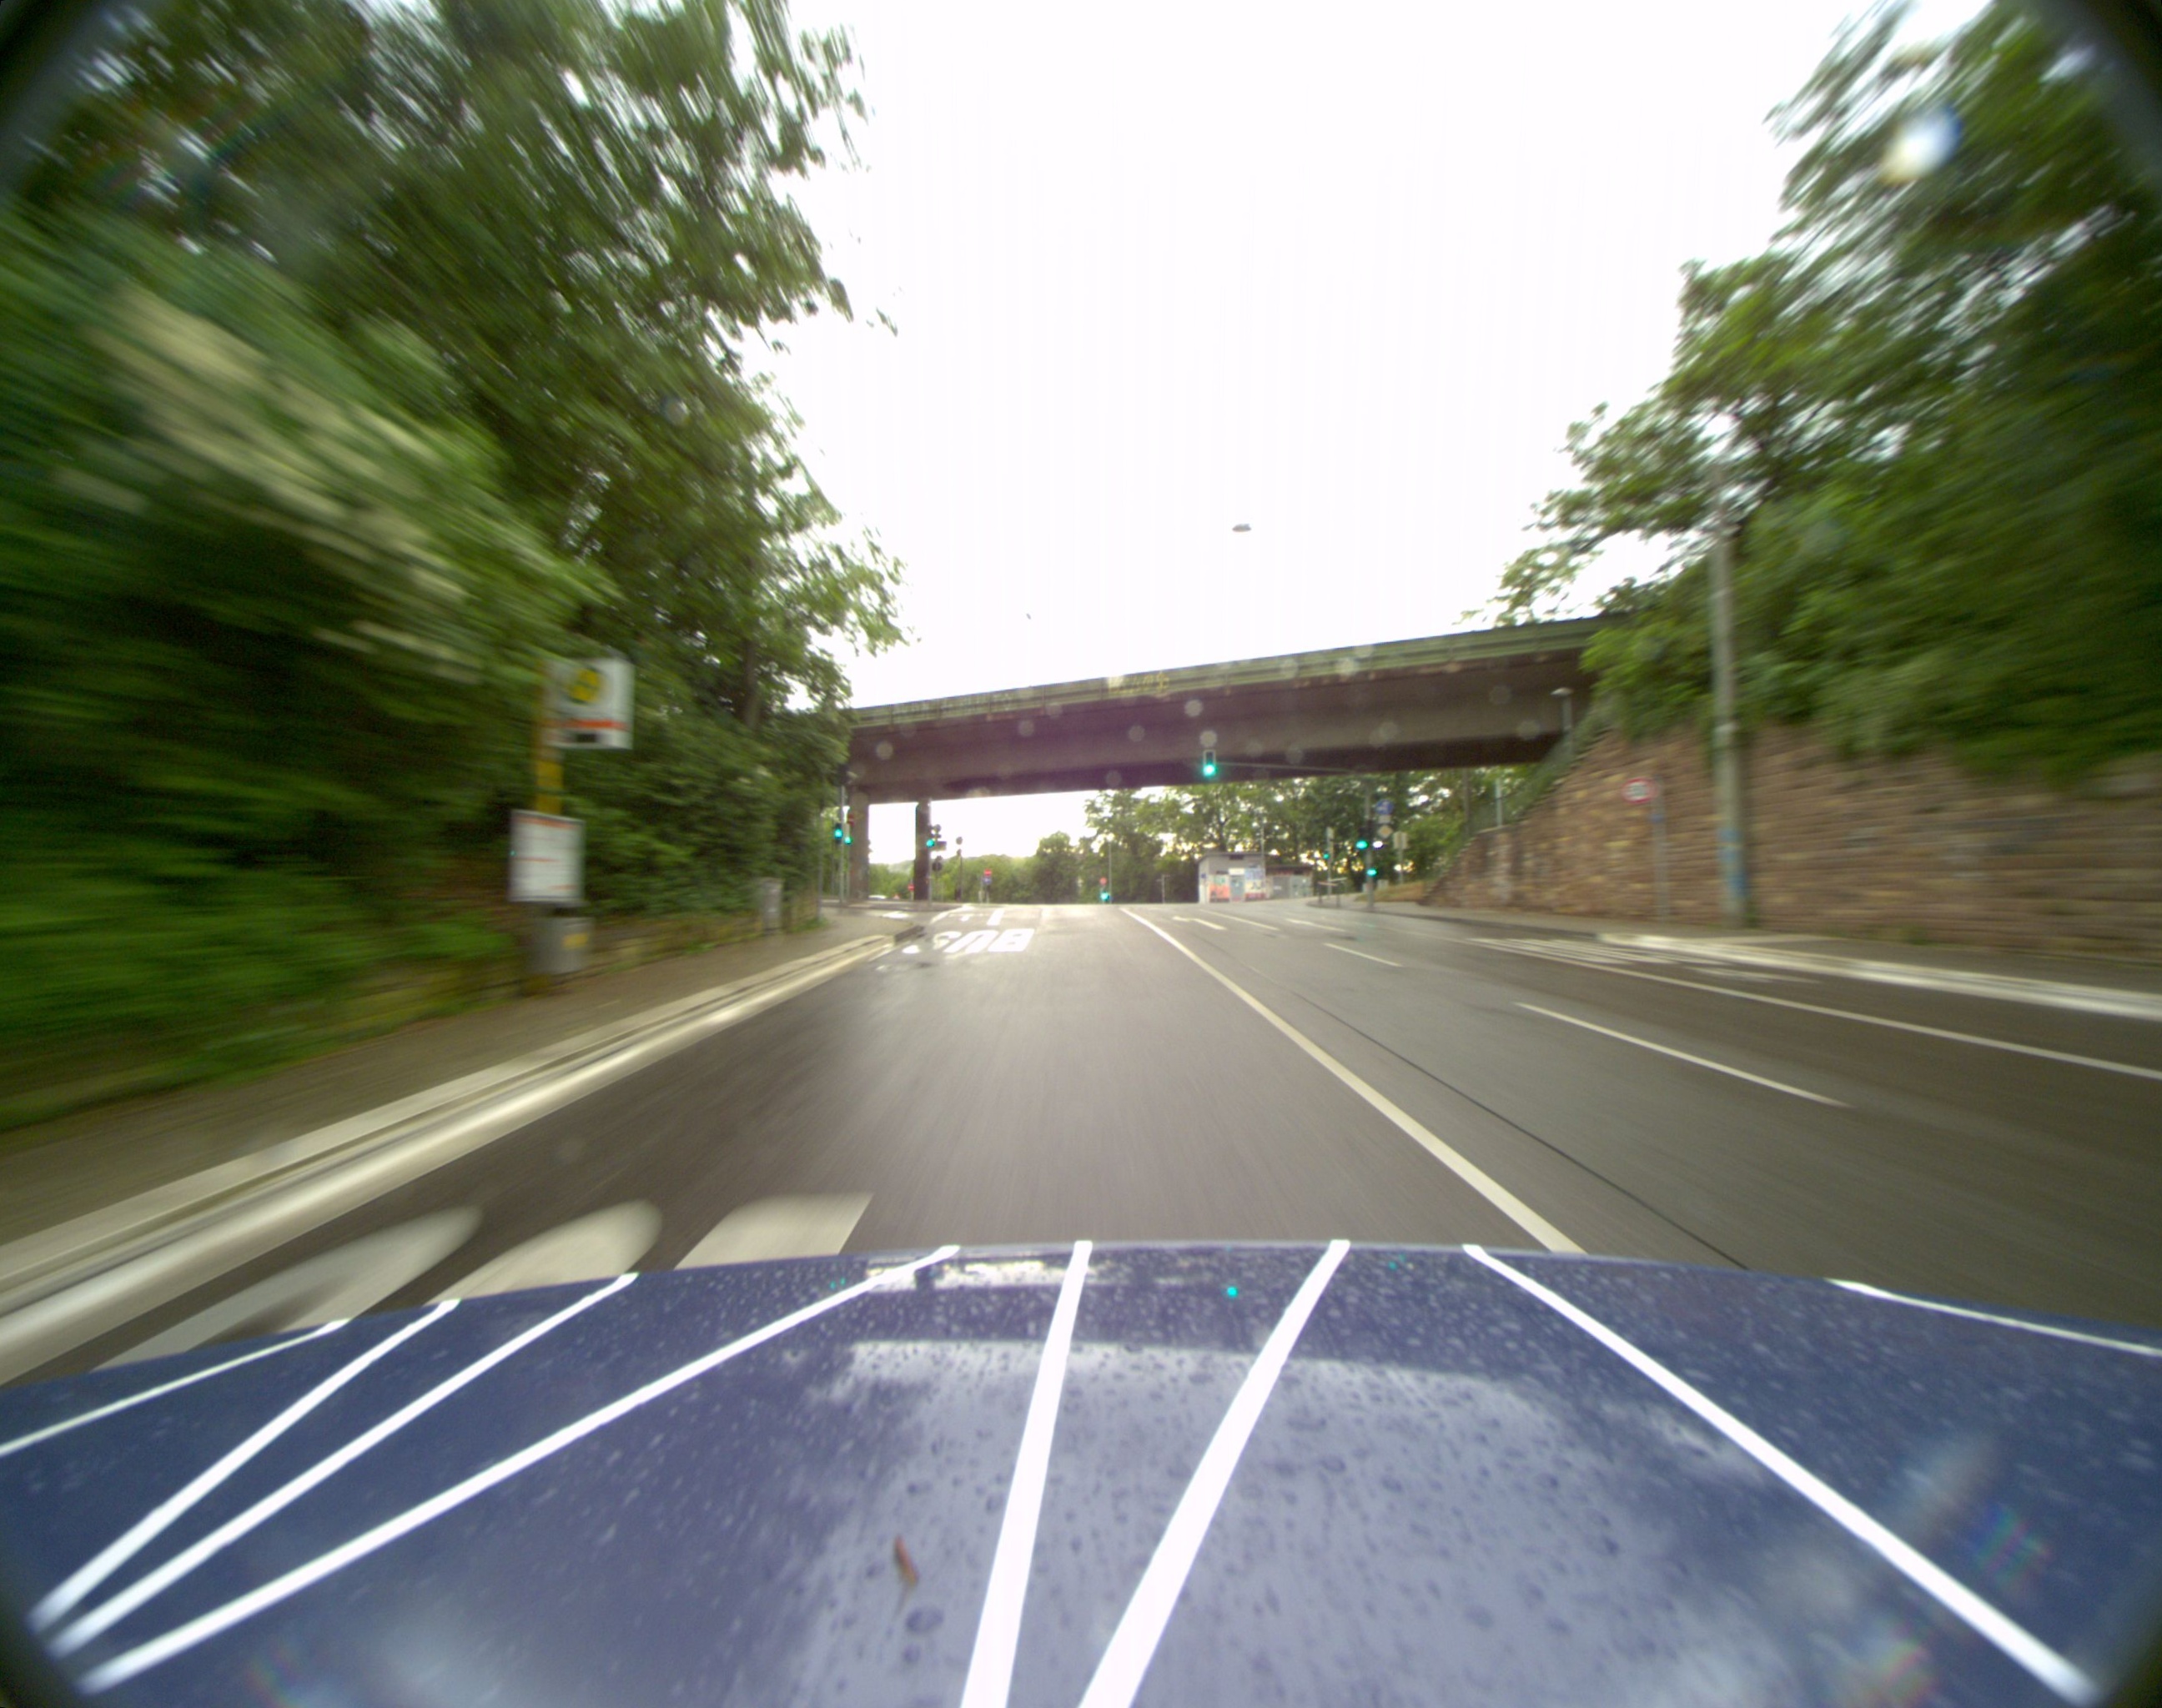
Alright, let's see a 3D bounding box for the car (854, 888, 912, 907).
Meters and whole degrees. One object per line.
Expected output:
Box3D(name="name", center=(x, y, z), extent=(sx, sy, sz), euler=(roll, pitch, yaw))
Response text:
Box3D(name="car", center=(-15.503, 3.400, 59.624), extent=(3.993, 1.302, 1.769), euler=(-2, 1, 12))
